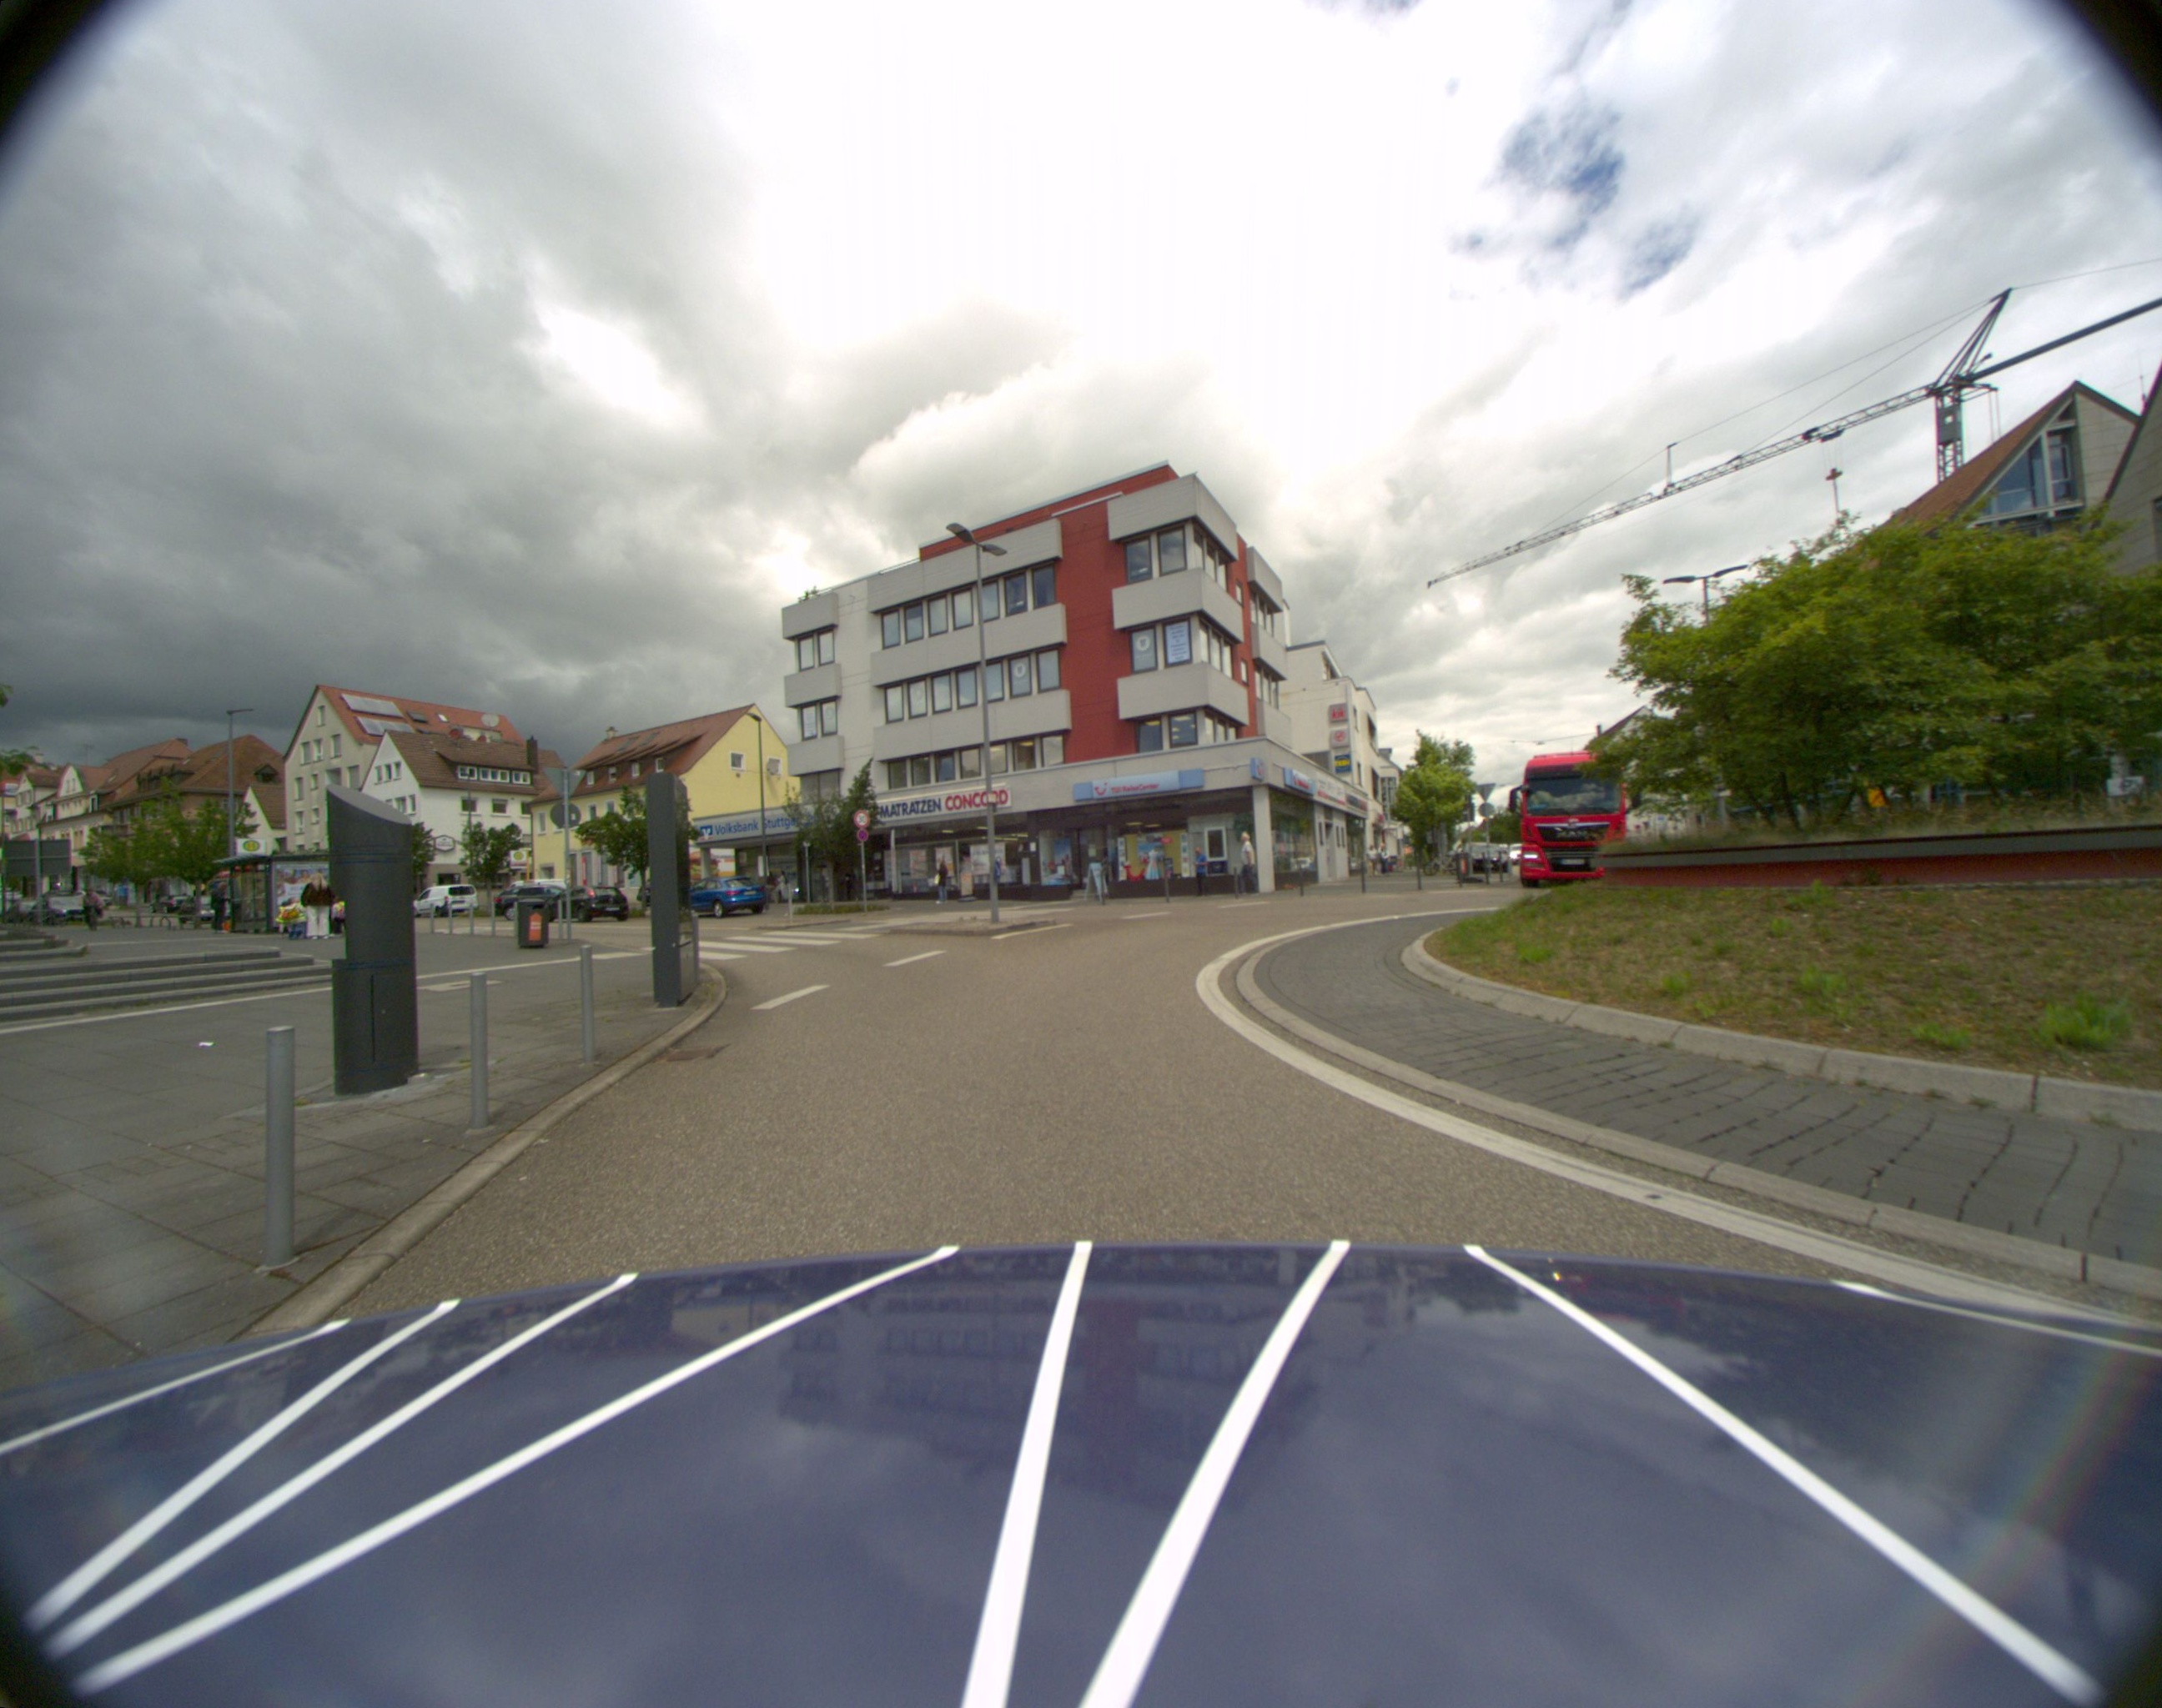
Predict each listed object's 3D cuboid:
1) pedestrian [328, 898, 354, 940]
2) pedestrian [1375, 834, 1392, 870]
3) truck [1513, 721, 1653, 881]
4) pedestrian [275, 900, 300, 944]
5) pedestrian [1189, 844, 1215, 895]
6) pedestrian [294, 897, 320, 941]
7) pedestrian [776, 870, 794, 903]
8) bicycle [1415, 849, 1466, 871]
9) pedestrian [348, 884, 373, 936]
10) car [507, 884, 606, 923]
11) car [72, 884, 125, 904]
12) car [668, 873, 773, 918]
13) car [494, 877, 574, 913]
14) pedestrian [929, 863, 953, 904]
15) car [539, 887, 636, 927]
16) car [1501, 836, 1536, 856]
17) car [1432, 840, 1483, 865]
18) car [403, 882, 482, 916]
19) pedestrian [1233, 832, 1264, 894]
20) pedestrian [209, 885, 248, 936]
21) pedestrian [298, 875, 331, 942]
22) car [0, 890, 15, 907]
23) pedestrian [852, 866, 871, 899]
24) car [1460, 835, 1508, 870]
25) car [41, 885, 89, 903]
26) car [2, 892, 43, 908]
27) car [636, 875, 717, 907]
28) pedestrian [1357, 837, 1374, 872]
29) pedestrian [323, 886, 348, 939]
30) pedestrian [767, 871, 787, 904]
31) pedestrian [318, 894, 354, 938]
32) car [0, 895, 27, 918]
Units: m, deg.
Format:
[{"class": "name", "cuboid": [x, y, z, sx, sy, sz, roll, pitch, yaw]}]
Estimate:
[{"class": "pedestrian", "cuboid": [-21.023, 1.835, 21.580, 0.390, 1.165, 0.478, -3, -3, 39]}, {"class": "pedestrian", "cuboid": [15.072, -0.095, 37.869, 0.538, 1.745, 0.509, -3, 0, -42]}, {"class": "truck", "cuboid": [15.971, -1.406, 24.356, 2.959, 4.004, 10.615, -2, 0, 33]}, {"class": "pedestrian", "cuboid": [-21.230, 1.813, 20.319, 0.382, 1.141, 0.441, -3, -3, 42]}, {"class": "pedestrian", "cuboid": [3.954, 0.501, 24.816, 0.606, 1.594, 0.568, -3, 0, -10]}, {"class": "pedestrian", "cuboid": [-21.464, 1.804, 21.073, 0.391, 1.191, 0.510, 0, -2, -34]}, {"class": "pedestrian", "cuboid": [-14.291, 1.555, 36.714, 0.585, 1.556, 0.512, -3, -2, 31]}, {"class": "bicycle", "cuboid": [16.560, 0.280, 35.039, 2.061, 0.940, 0.523, -2, 0, 25]}, {"class": "pedestrian", "cuboid": [-22.933, 1.782, 24.187, 0.388, 1.609, 0.468, -1, -2, -18]}, {"class": "car", "cuboid": [-24.824, 2.295, 35.988, 3.742, 1.515, 1.890, -2, 2, -38]}, {"class": "car", "cuboid": [-86.495, 3.499, 66.882, 4.444, 1.564, 1.733, -1, 0, 23]}, {"class": "car", "cuboid": [-14.505, 1.662, 30.507, 4.320, 1.590, 1.702, -3, 2, 33]}, {"class": "car", "cuboid": [-31.007, 2.337, 43.037, 4.465, 1.803, 1.765, -2, 1, 28]}, {"class": "pedestrian", "cuboid": [-5.496, 1.151, 29.918, 0.637, 1.579, 0.590, -3, 1, 26]}, {"class": "car", "cuboid": [-19.842, 2.092, 30.504, 4.108, 1.411, 1.707, -2, 1, 33]}, {"class": "car", "cuboid": [31.722, -0.606, 55.187, 1.678, 1.324, 3.862, -3, 0, 23]}, {"class": "car", "cuboid": [24.760, -0.096, 50.105, 1.861, 1.557, 4.379, -2, 0, 11]}, {"class": "car", "cuboid": [-35.146, 2.491, 41.807, 4.340, 1.662, 1.664, -3, 0, 27]}, {"class": "pedestrian", "cuboid": [5.195, 0.286, 23.622, 0.680, 1.864, 0.806, -3, 0, 0]}, {"class": "pedestrian", "cuboid": [-28.536, 1.874, 25.448, 0.685, 1.627, 0.802, -3, -1, 44]}, {"class": "pedestrian", "cuboid": [-20.892, 1.478, 20.720, 0.434, 1.811, 0.542, -3, -3, 35]}, {"class": "car", "cuboid": [-112.238, 4.609, 78.478, 3.982, 1.670, 1.736, 0, 0, 25]}, {"class": "pedestrian", "cuboid": [-11.591, 1.524, 40.124, 0.585, 1.694, 0.646, -5, -3, 21]}, {"class": "car", "cuboid": [19.723, -0.082, 37.073, 1.859, 1.571, 4.383, -2, 0, 30]}, {"class": "car", "cuboid": [-93.003, 3.620, 69.582, 3.954, 1.517, 1.672, -1, 2, 23]}, {"class": "car", "cuboid": [-105.353, 4.584, 75.618, 3.494, 1.423, 1.736, 0, 0, 25]}, {"class": "car", "cuboid": [-22.705, 2.049, 42.729, 1.664, 1.549, 3.646, -2, 0, 29]}, {"class": "pedestrian", "cuboid": [14.322, 0.017, 38.198, 0.679, 1.745, 0.511, -3, 0, 24]}, {"class": "pedestrian", "cuboid": [-21.553, 1.690, 21.959, 0.389, 1.507, 0.391, -2, -2, 23]}, {"class": "pedestrian", "cuboid": [-14.412, 1.581, 36.029, 0.585, 1.556, 0.646, -3, -2, 31]}, {"class": "pedestrian", "cuboid": [-22.233, 1.832, 22.678, 0.599, 1.295, 0.433, 0, -2, -3]}, {"class": "car", "cuboid": [-73.950, 3.566, 51.966, 3.494, 1.423, 1.525, 0, 0, 25]}]
